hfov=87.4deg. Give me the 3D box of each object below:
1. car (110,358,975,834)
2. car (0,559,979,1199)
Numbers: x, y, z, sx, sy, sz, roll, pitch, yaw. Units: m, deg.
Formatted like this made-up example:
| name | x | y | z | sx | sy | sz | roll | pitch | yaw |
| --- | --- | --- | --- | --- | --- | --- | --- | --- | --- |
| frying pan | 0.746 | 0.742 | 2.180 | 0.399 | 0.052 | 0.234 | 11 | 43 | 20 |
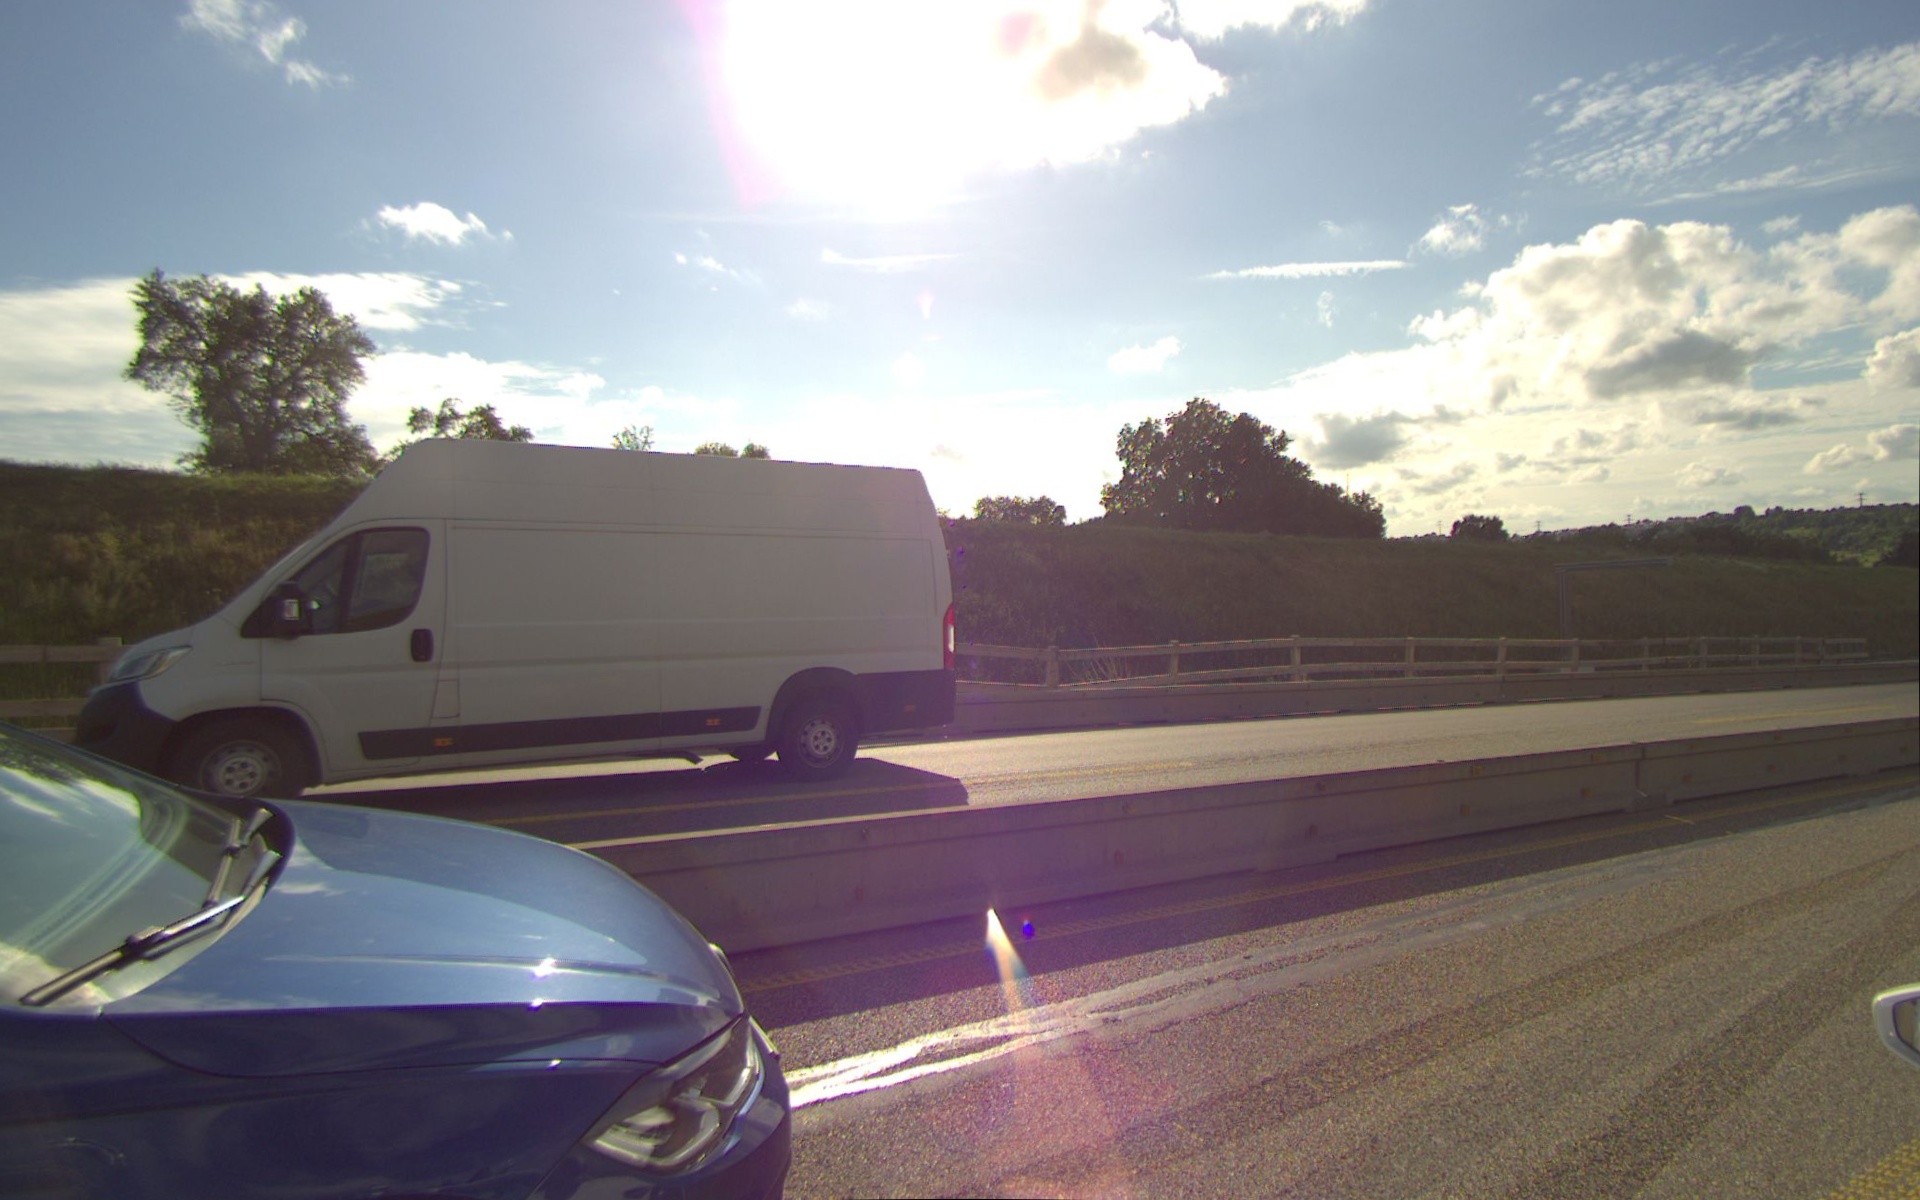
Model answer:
| name | x | y | z | sx | sy | sz | roll | pitch | yaw |
| --- | --- | --- | --- | --- | --- | --- | --- | --- | --- |
| car | -2.993 | 0.086 | 8.526 | 6.067 | 2.872 | 2.100 | 1 | -3 | -31 |
| car | -2.104 | 0.699 | 1.428 | 3.953 | 1.528 | 1.707 | 1 | 0 | -30 |
